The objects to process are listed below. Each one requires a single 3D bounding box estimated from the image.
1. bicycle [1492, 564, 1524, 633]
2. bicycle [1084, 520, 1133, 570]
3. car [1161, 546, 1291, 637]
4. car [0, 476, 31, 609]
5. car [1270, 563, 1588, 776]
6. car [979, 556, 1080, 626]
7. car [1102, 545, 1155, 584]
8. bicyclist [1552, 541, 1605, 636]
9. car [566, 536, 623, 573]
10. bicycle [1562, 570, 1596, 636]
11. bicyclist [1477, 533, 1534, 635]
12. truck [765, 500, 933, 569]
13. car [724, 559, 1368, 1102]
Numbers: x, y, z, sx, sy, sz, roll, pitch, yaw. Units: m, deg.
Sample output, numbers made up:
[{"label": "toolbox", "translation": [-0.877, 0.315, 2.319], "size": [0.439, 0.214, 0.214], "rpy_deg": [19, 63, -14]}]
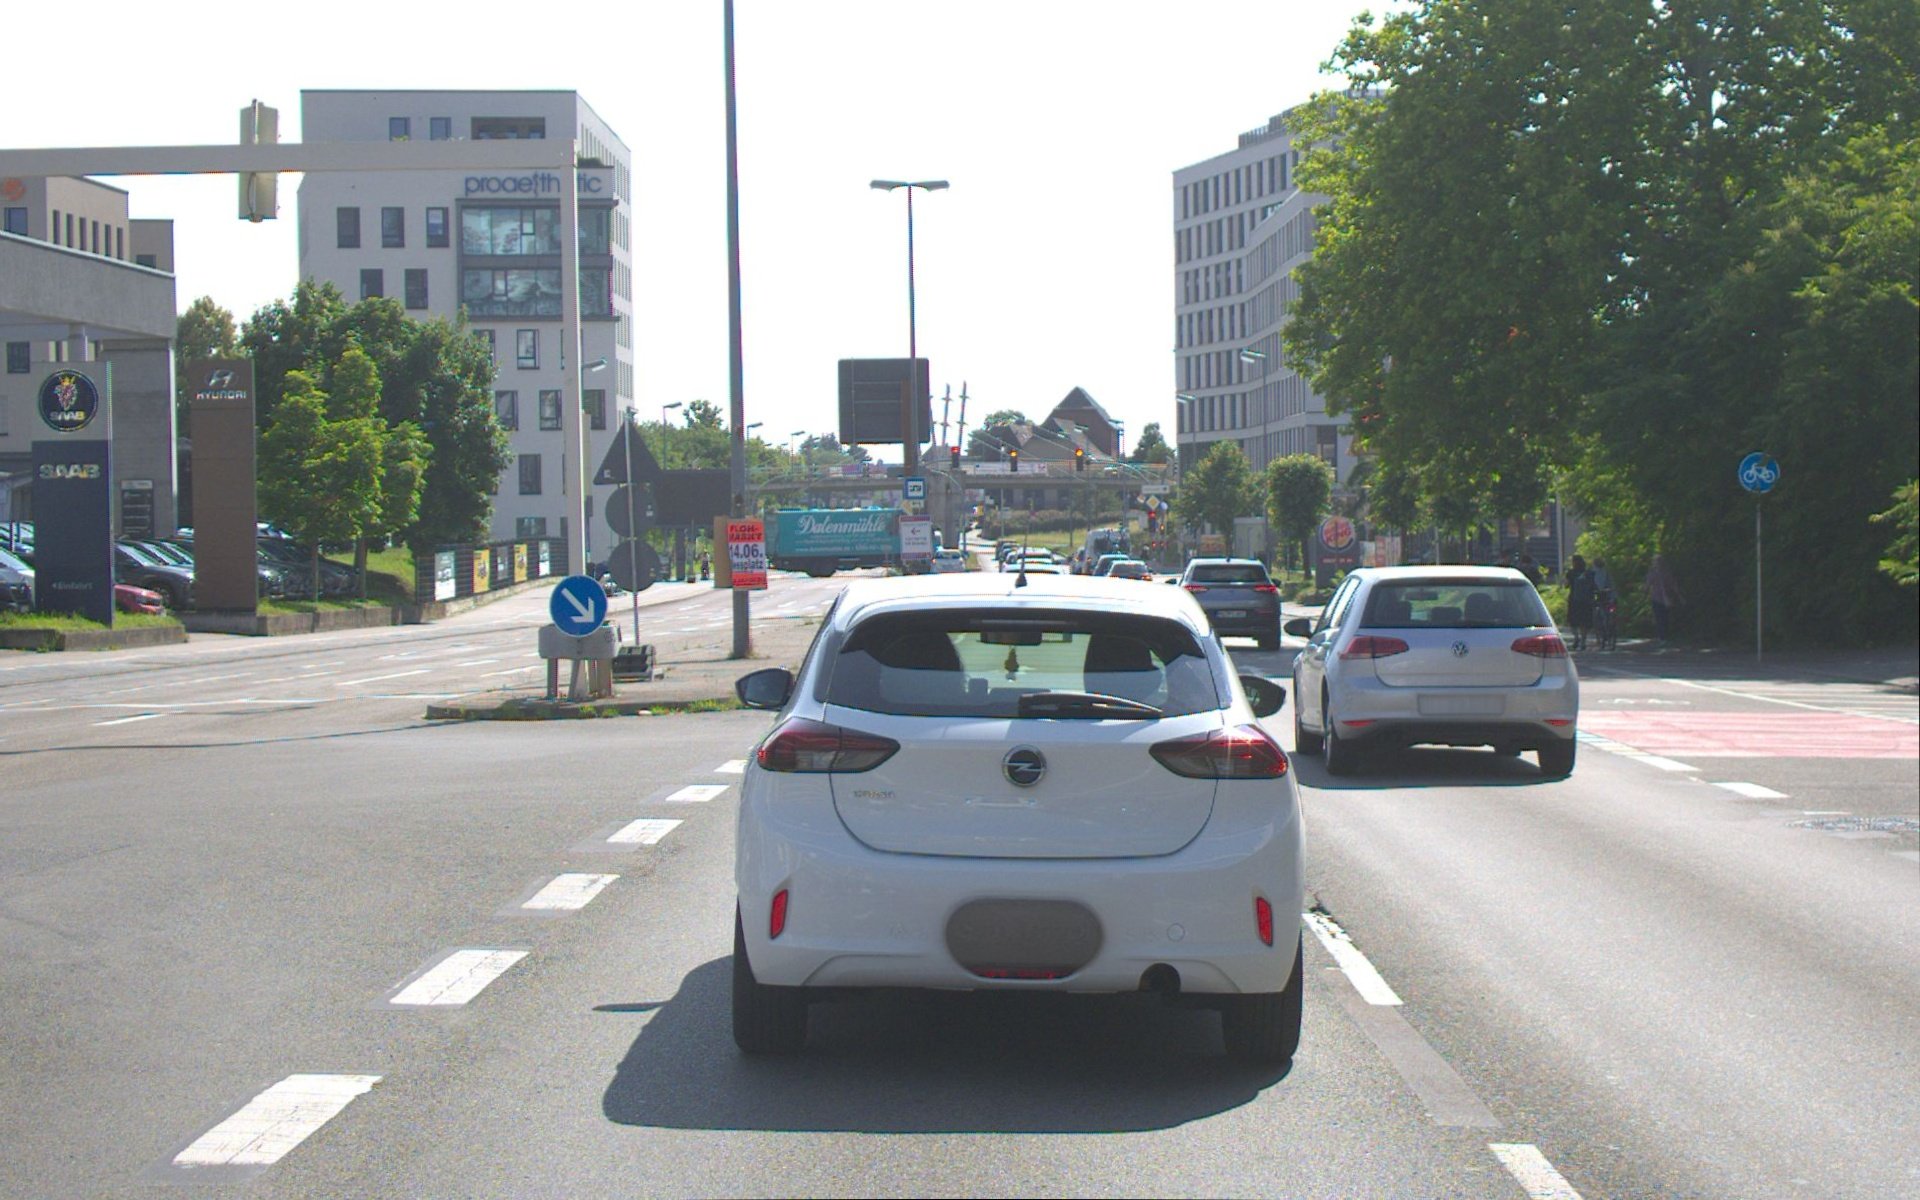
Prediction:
[{"label": "bicycle", "translation": [9.689, -0.035, 60.771], "size": [0.372, 1.212, 1.154], "rpy_deg": [1, 1, 1]}, {"label": "bicycle", "translation": [6.431, -2.382, 149.448], "size": [1.993, 2.150, 4.000], "rpy_deg": [-1, 1, 1]}, {"label": "car", "translation": [4.710, -0.178, 61.410], "size": [1.993, 1.546, 4.434], "rpy_deg": [-1, 1, 0]}, {"label": "car", "translation": [-20.739, -1.108, 67.553], "size": [4.357, 2.592, 2.000], "rpy_deg": [-1, 1, 6]}, {"label": "car", "translation": [3.357, 0.462, 25.275], "size": [1.807, 1.424, 4.000], "rpy_deg": [-1, 0, 1]}, {"label": "car", "translation": [1.456, -0.214, 73.587], "size": [1.993, 1.442, 4.371], "rpy_deg": [0, 1, -1]}, {"label": "car", "translation": [6.322, -1.323, 129.137], "size": [1.806, 1.381, 4.000], "rpy_deg": [1, 0, 1]}, {"label": "bicyclist", "translation": [10.847, -0.208, 60.292], "size": [0.688, 1.637, 0.777], "rpy_deg": [-1, 1, -7]}, {"label": "car", "translation": [-14.486, -1.794, 136.445], "size": [1.806, 1.381, 4.000], "rpy_deg": [1, 0, 1]}, {"label": "bicycle", "translation": [10.855, 0.047, 60.270], "size": [0.373, 1.143, 1.034], "rpy_deg": [1, 0, -1]}, {"label": "bicyclist", "translation": [9.643, -0.288, 60.799], "size": [0.879, 1.766, 0.864], "rpy_deg": [-1, 1, 1]}, {"label": "truck", "translation": [-6.324, -3.735, 196.114], "size": [9.058, 3.821, 3.082], "rpy_deg": [-1, 1, -21]}, {"label": "car", "translation": [0.258, 0.621, 11.593], "size": [1.779, 1.489, 4.000], "rpy_deg": [-1, 1, 1]}]
